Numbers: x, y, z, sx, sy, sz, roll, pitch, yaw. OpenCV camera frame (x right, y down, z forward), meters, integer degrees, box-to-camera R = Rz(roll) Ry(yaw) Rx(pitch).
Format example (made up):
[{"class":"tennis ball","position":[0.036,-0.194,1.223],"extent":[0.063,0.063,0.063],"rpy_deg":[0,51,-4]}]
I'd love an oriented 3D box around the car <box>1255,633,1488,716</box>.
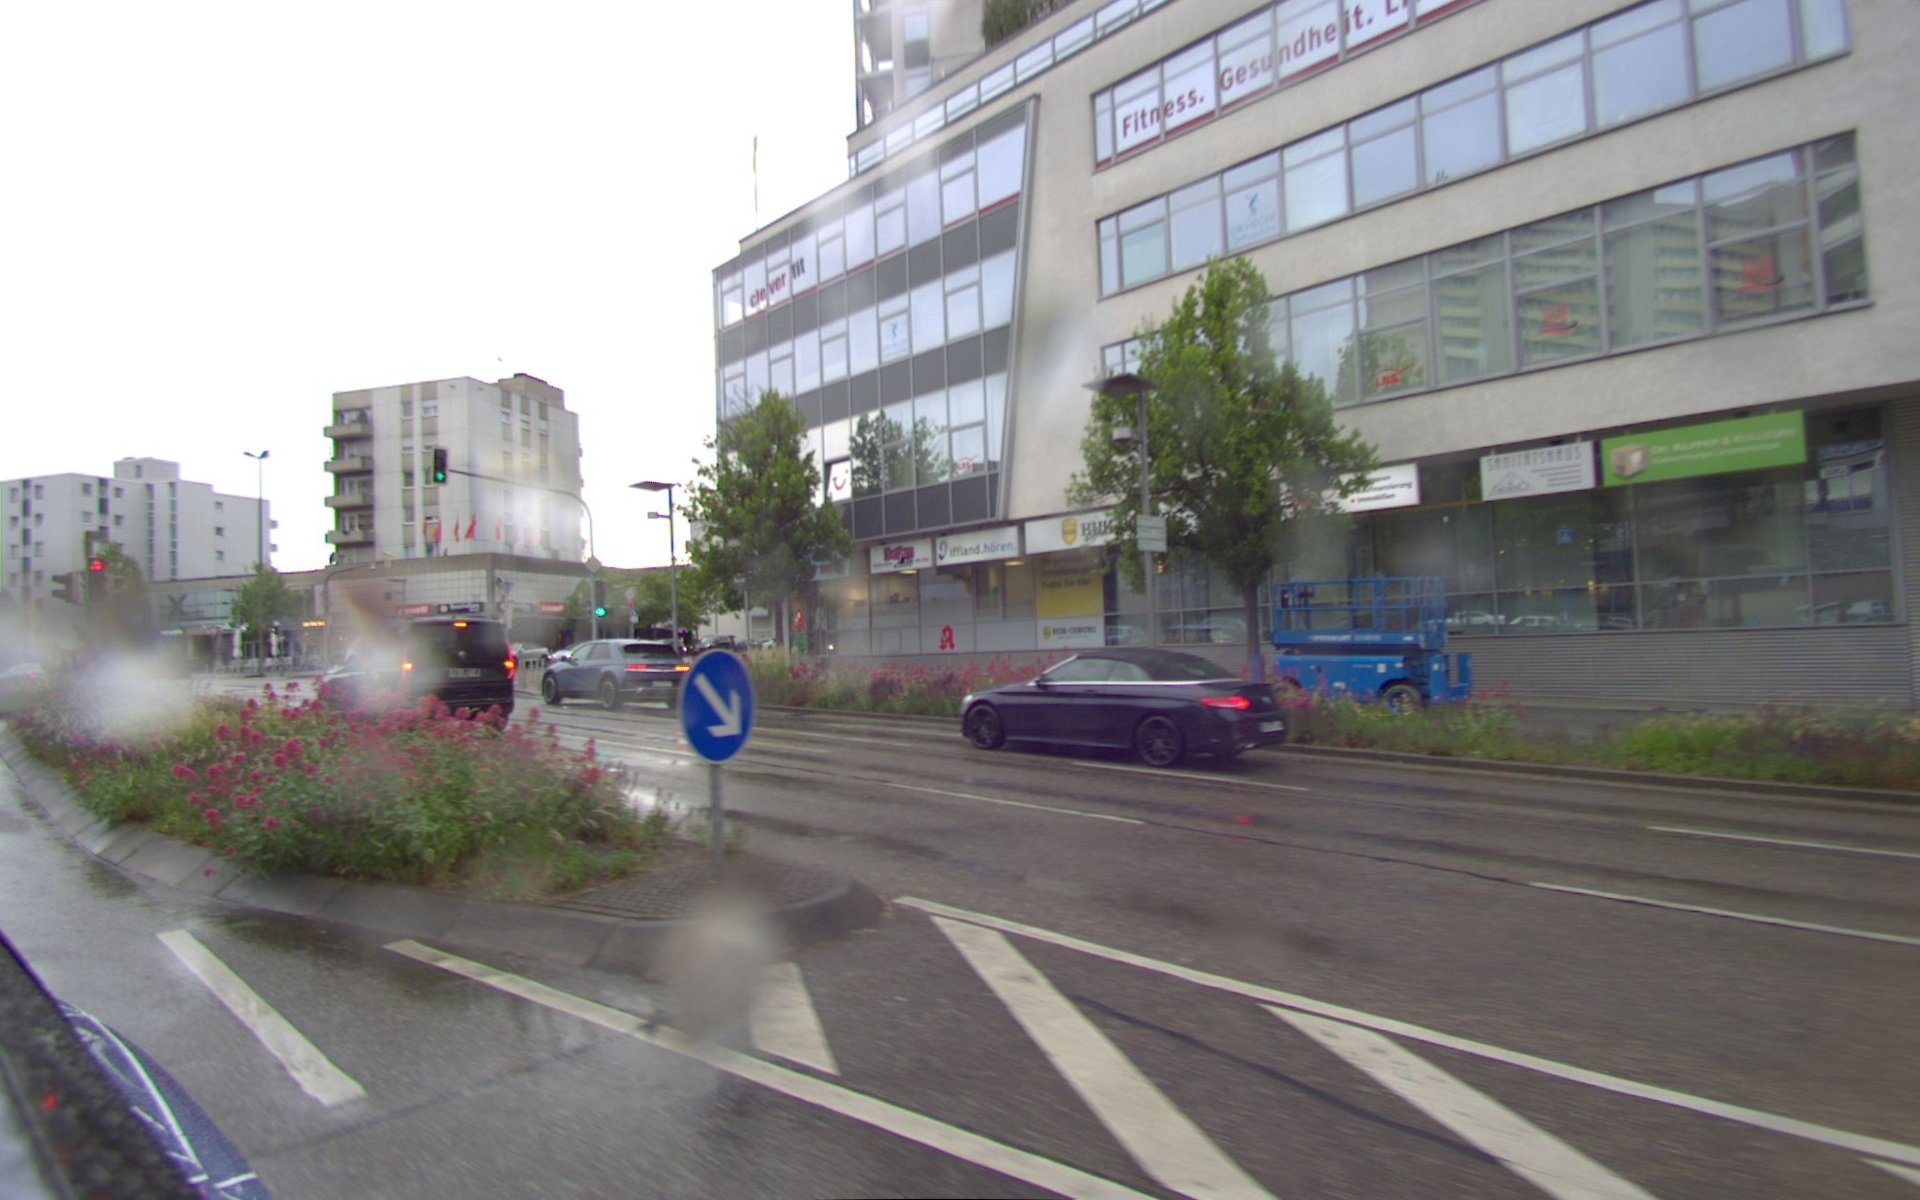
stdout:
[{"class":"car","position":[7.776,1.361,19.329],"extent":[3.732,1.421,1.733],"rpy_deg":[-3,-3,45]}]

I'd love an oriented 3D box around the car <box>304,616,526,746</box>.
[{"class":"car","position":[-8.777,1.245,16.165],"extent":[3.999,1.804,1.842],"rpy_deg":[-2,-5,42]}]

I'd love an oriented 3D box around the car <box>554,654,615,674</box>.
[{"class":"car","position":[-23.146,3.919,62.540],"extent":[1.414,1.145,3.651],"rpy_deg":[-1,-3,23]}]

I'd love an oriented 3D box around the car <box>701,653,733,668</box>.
[{"class":"car","position":[-19.328,4.813,80.577],"extent":[1.285,1.142,2.553],"rpy_deg":[-1,-3,21]}]

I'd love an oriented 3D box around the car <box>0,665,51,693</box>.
[{"class":"car","position":[-57.155,4.775,61.849],"extent":[4.418,1.554,1.728],"rpy_deg":[-2,-3,40]}]

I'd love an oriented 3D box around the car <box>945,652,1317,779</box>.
[{"class":"car","position":[2.056,1.379,13.264],"extent":[4.705,1.356,1.613],"rpy_deg":[-2,-4,43]}]

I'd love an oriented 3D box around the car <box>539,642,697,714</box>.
[{"class":"car","position":[-8.139,1.790,23.924],"extent":[4.003,1.560,1.894],"rpy_deg":[-2,-4,44]}]
